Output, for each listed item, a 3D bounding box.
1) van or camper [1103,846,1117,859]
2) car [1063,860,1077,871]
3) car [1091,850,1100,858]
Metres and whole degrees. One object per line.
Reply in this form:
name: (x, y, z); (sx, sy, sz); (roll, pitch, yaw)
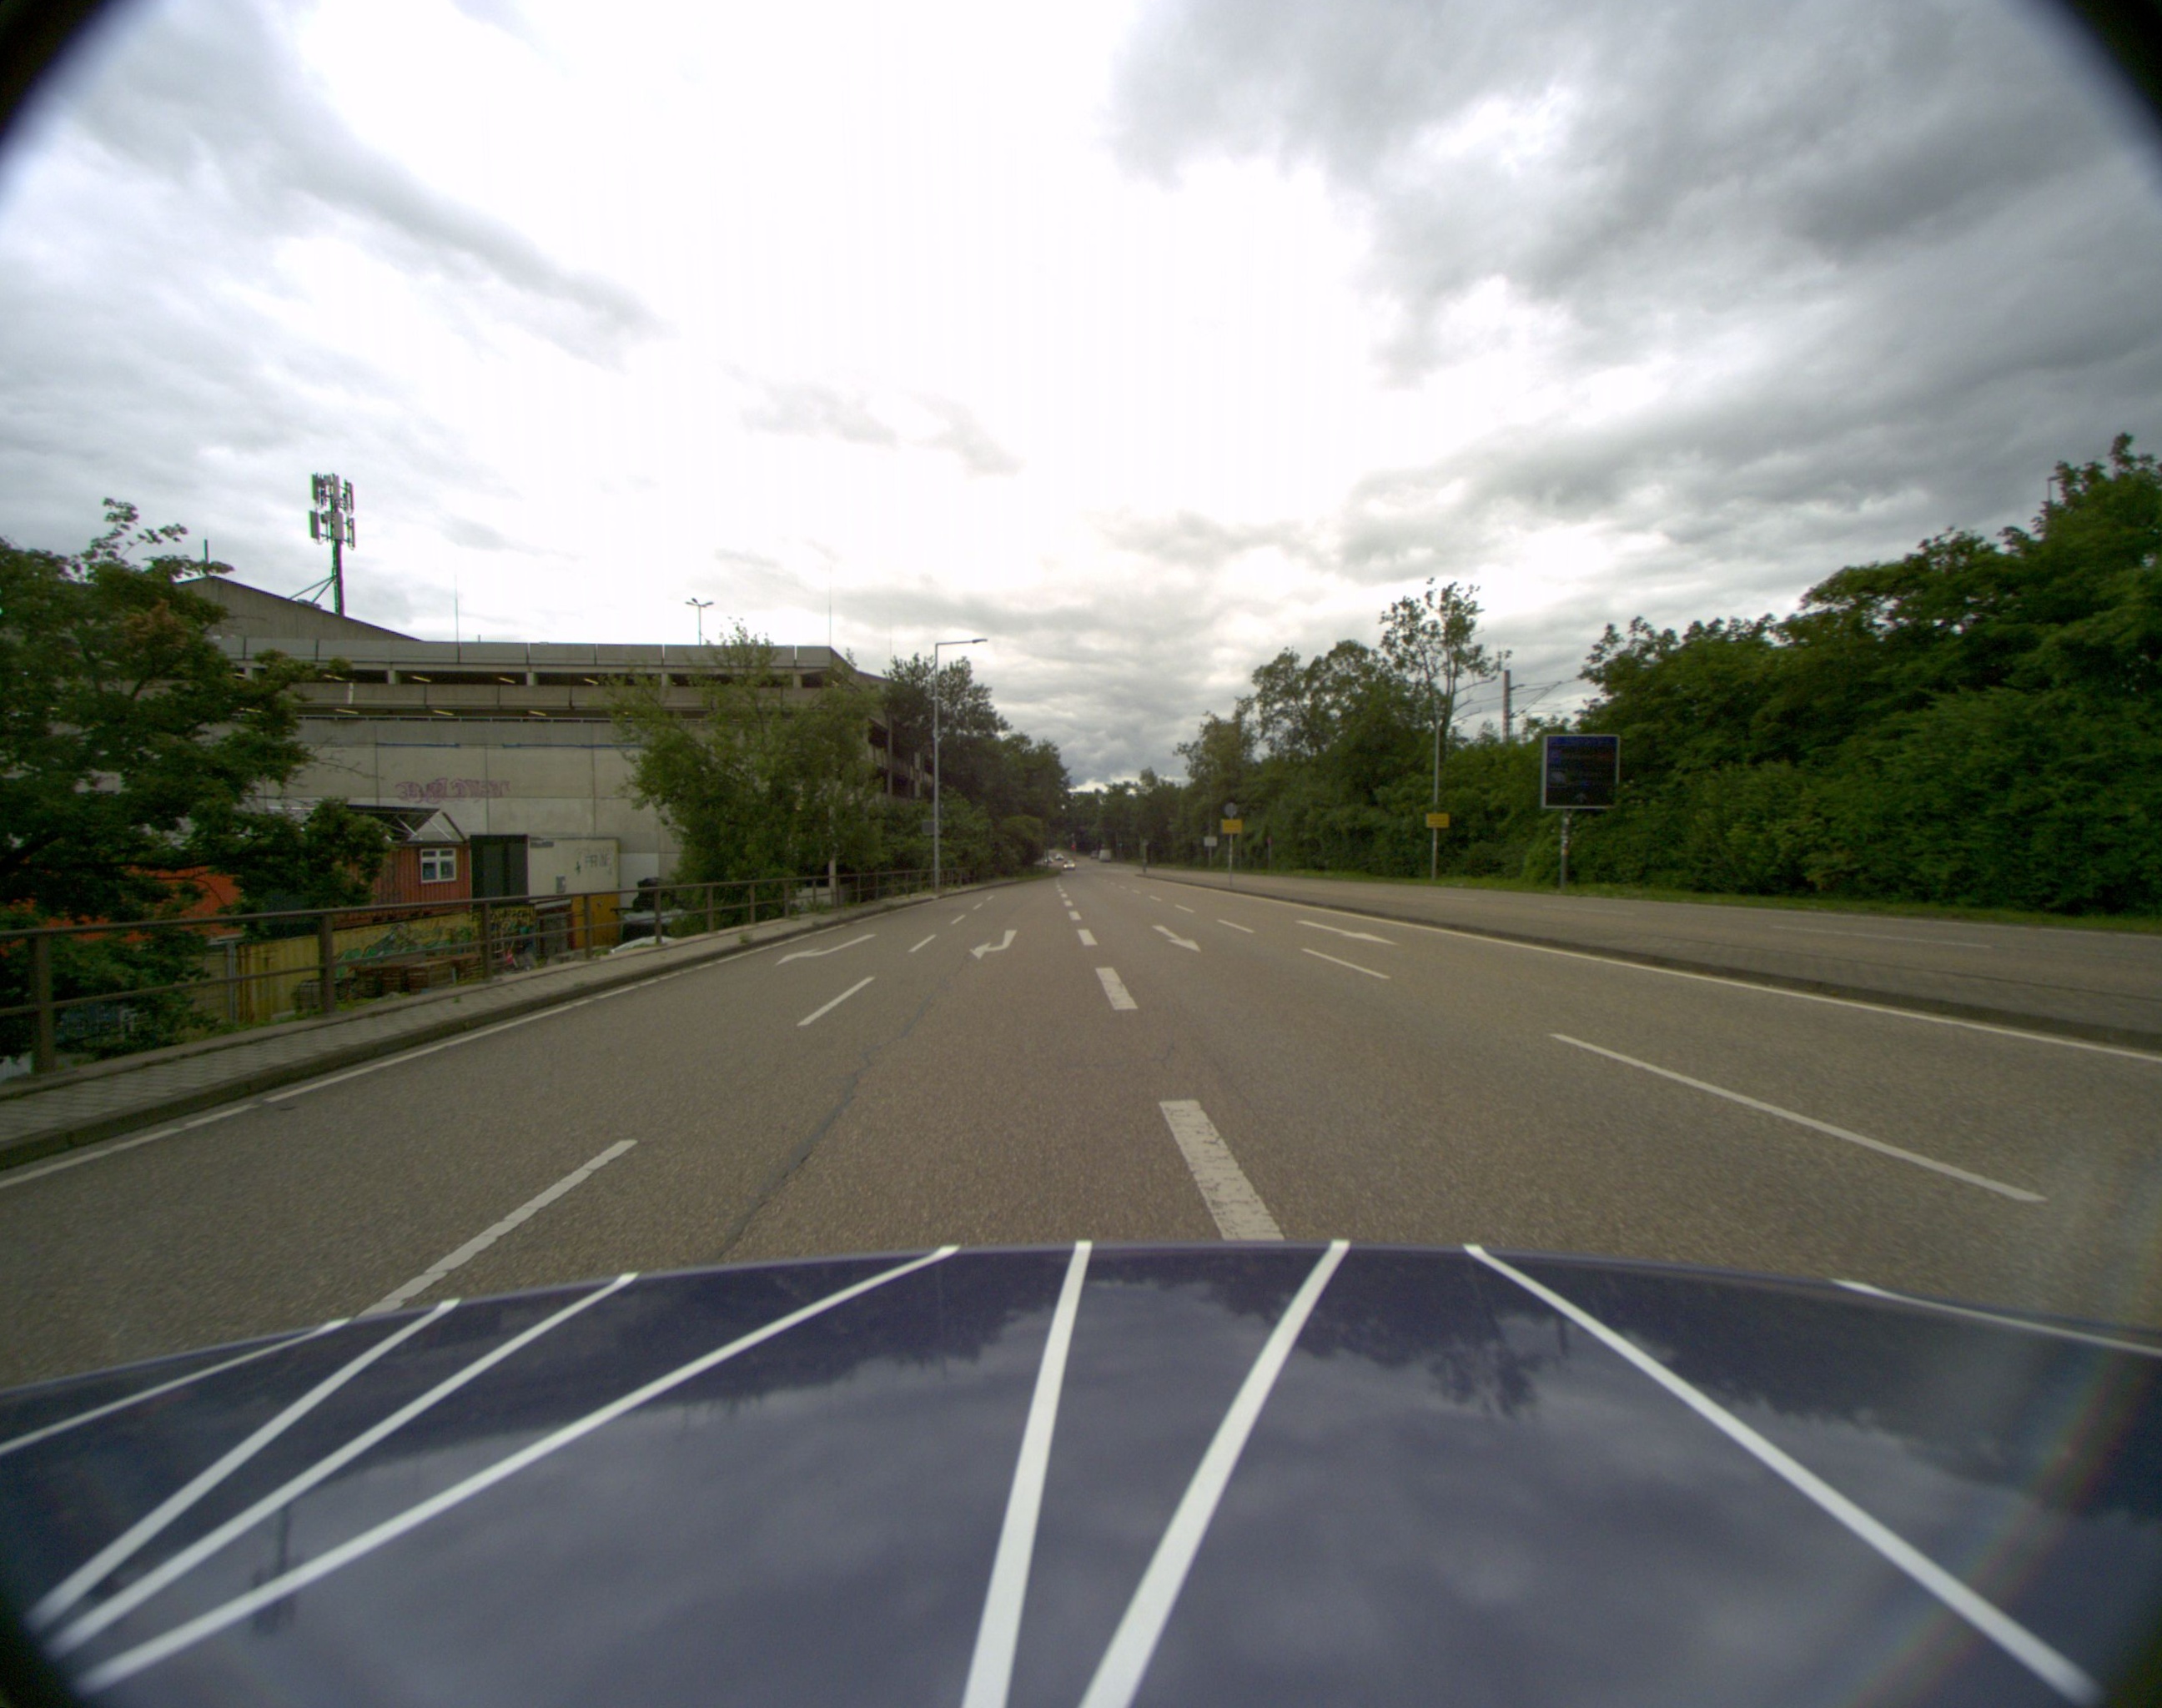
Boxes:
van or camper: (6.152, -0.364, 162.730); (2.289, 2.540, 6.857); (-5, 0, -2)
car: (-1.580, 1.666, 110.434); (1.855, 1.471, 4.507); (-2, 2, -2)
car: (3.500, -0.055, 185.056); (1.818, 1.819, 4.382); (-1, -1, -4)
